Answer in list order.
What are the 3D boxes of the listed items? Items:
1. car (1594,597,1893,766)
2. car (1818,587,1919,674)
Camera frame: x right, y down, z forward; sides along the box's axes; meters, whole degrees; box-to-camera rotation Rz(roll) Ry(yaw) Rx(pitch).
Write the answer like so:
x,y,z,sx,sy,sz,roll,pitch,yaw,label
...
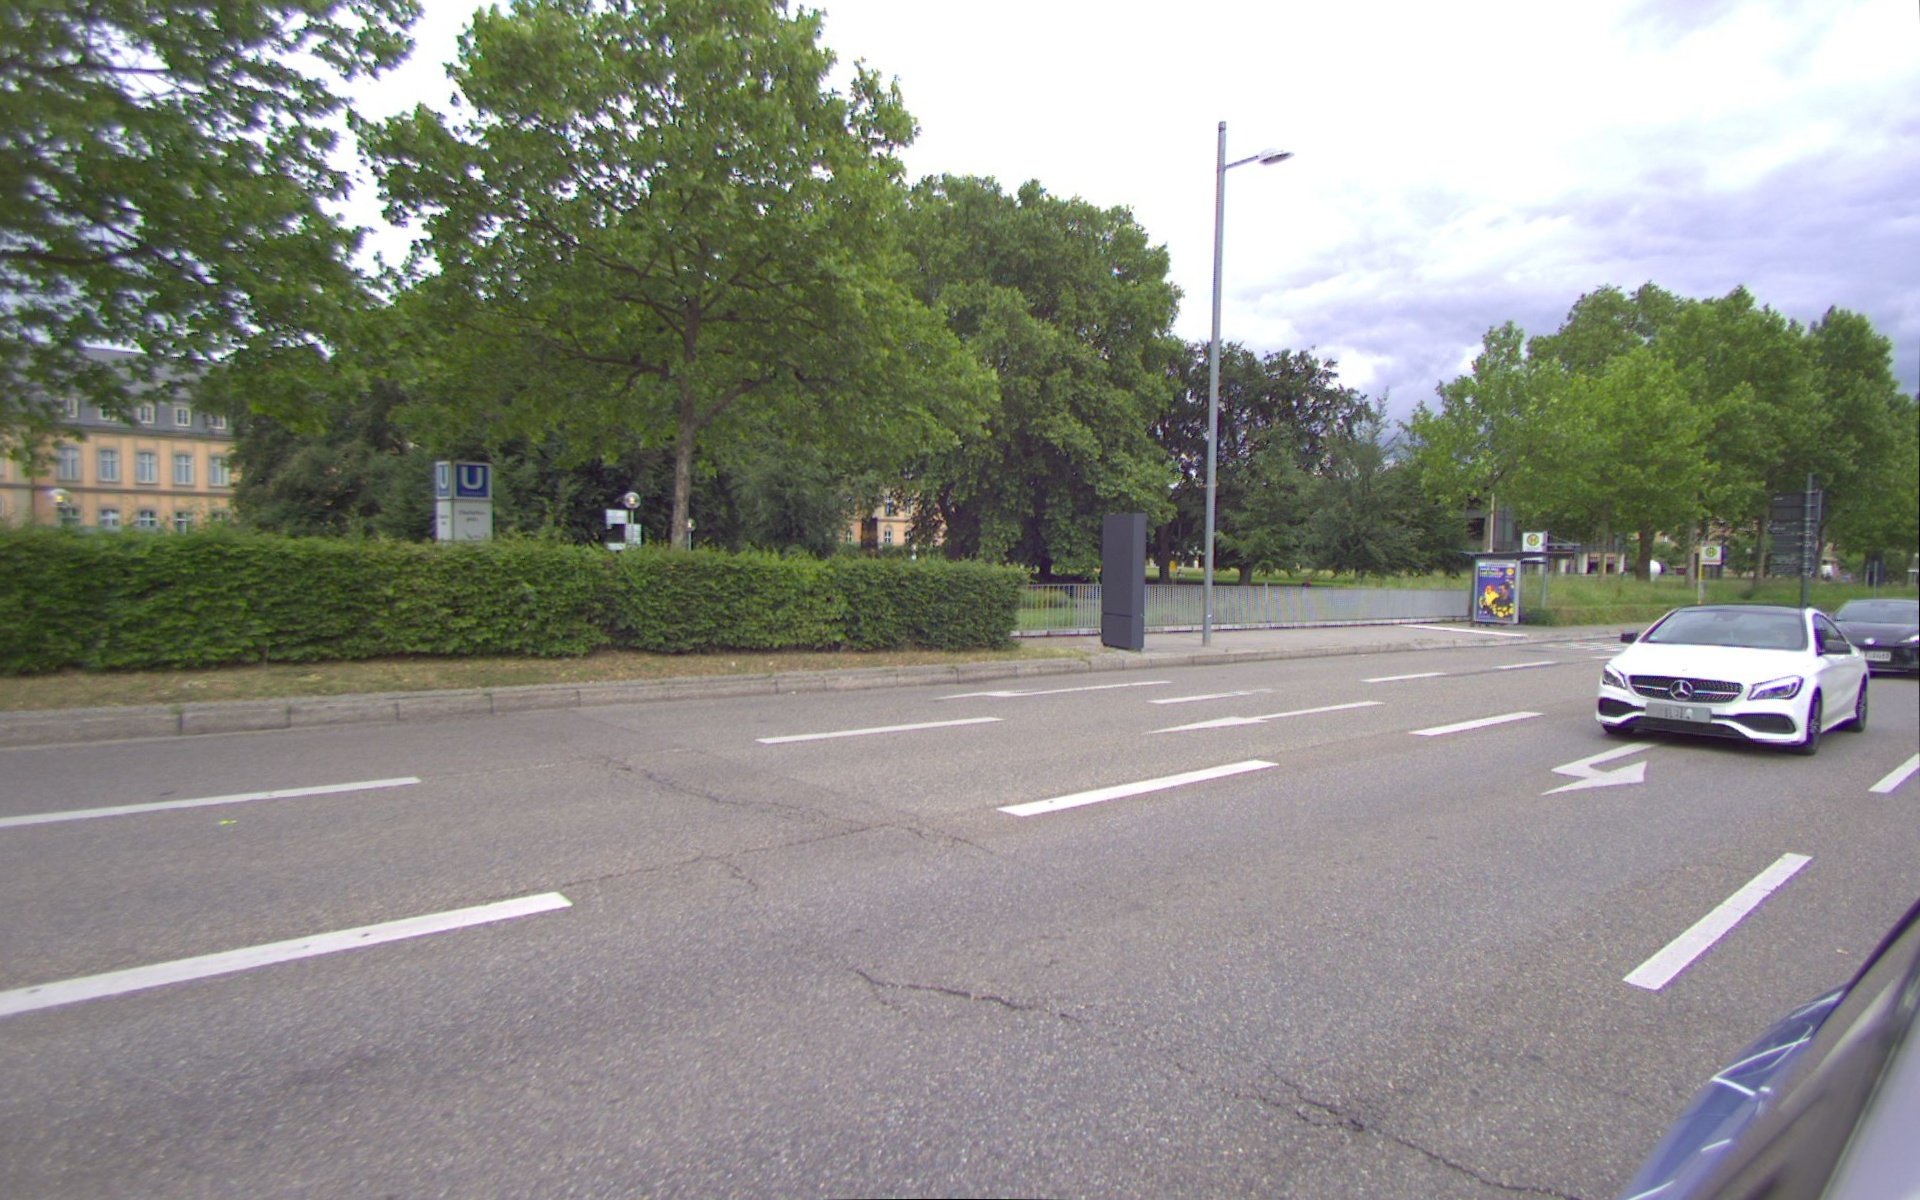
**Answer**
x,y,z,sx,sy,sz,roll,pitch,yaw,label
8.709,0.715,11.098,4.427,1.441,1.722,0,2,-41,car
18.467,0.550,19.893,4.047,1.543,1.829,0,1,-41,car
